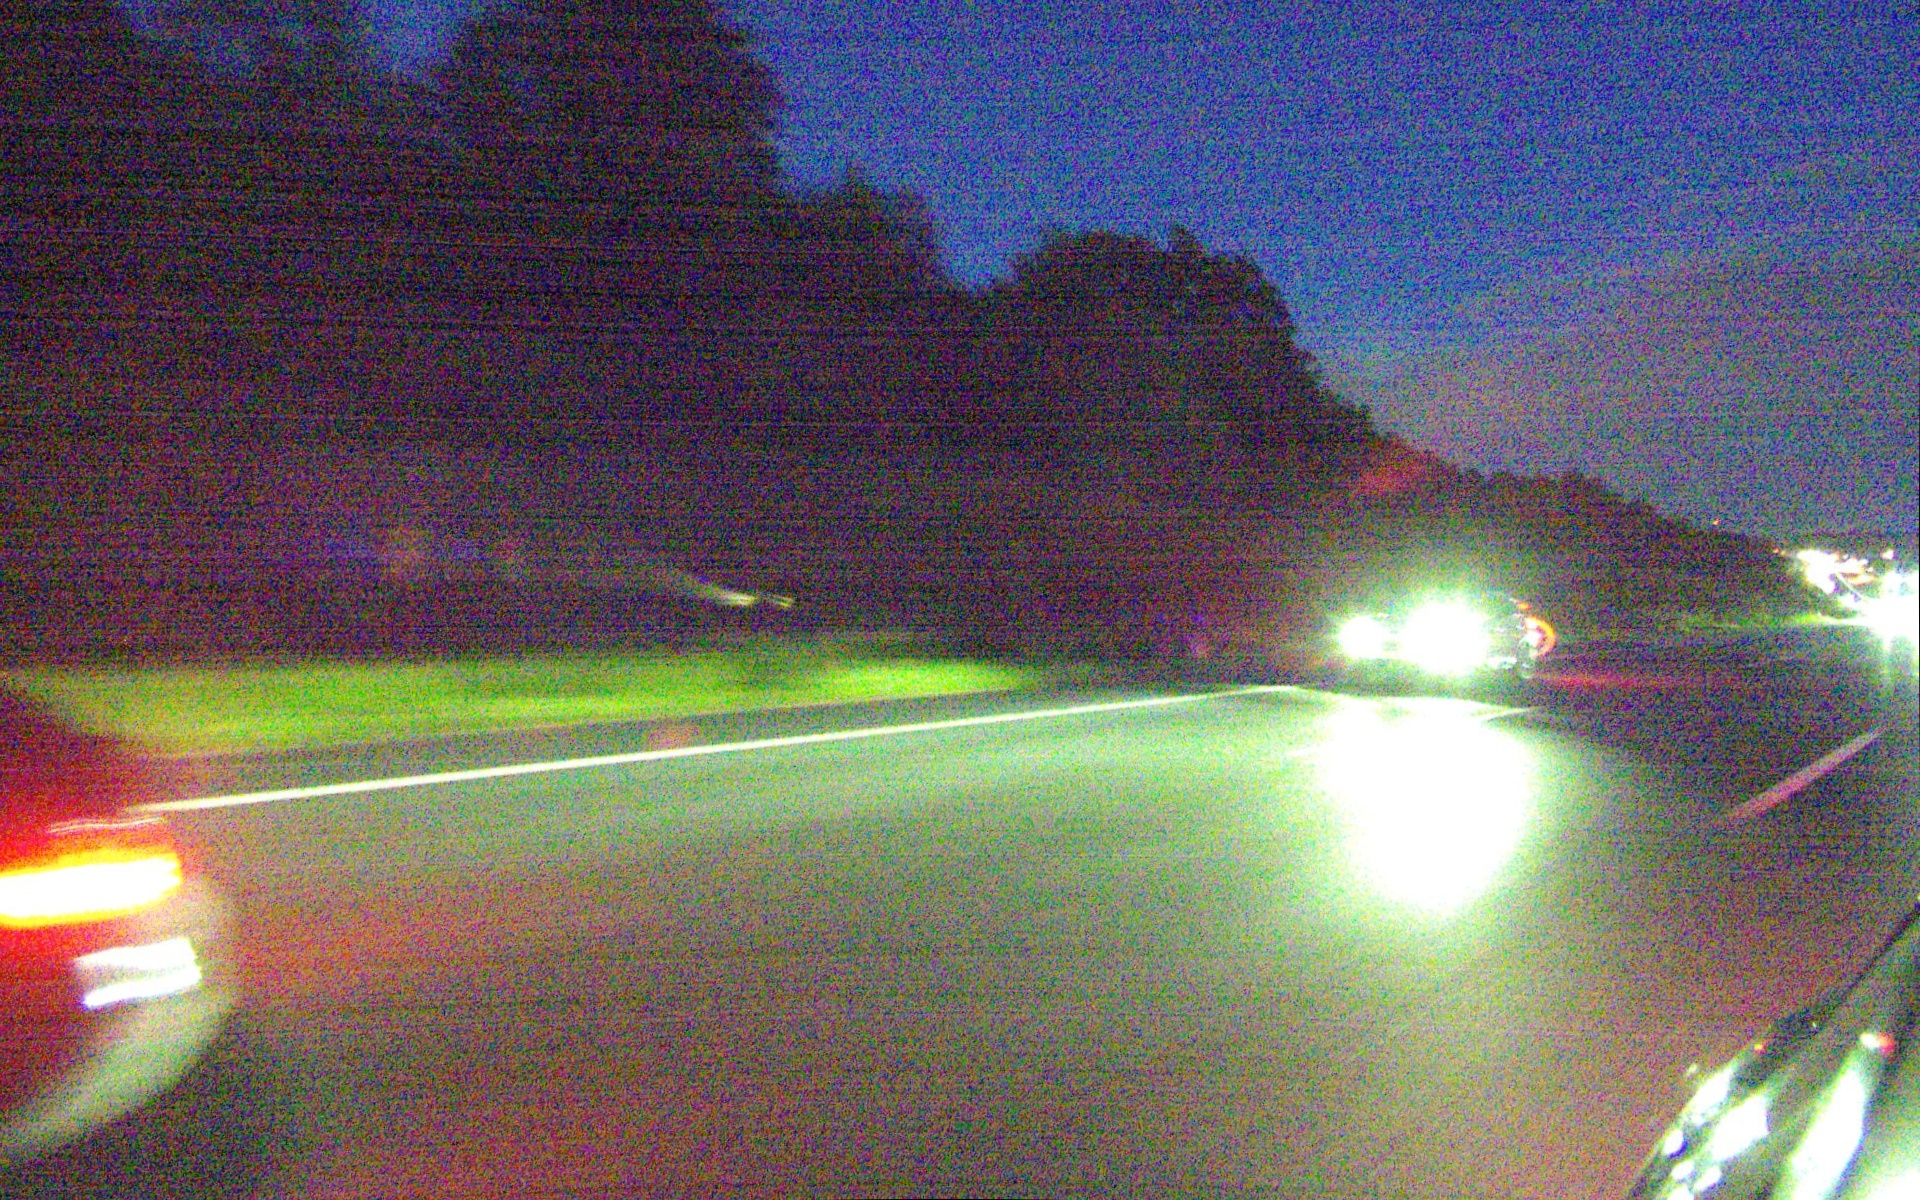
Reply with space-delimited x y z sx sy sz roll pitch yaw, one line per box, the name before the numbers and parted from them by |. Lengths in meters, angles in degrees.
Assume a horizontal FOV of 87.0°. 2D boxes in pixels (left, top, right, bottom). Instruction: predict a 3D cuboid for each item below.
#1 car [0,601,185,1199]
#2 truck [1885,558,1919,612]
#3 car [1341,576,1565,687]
car | -4.248 0.724 1.346 4.983 1.419 1.837 0 0 -43
truck | 81.973 -1.273 86.935 6.880 4.489 3.339 -1 0 -45
car | 9.045 0.474 18.338 5.081 1.739 1.995 0 0 -43
